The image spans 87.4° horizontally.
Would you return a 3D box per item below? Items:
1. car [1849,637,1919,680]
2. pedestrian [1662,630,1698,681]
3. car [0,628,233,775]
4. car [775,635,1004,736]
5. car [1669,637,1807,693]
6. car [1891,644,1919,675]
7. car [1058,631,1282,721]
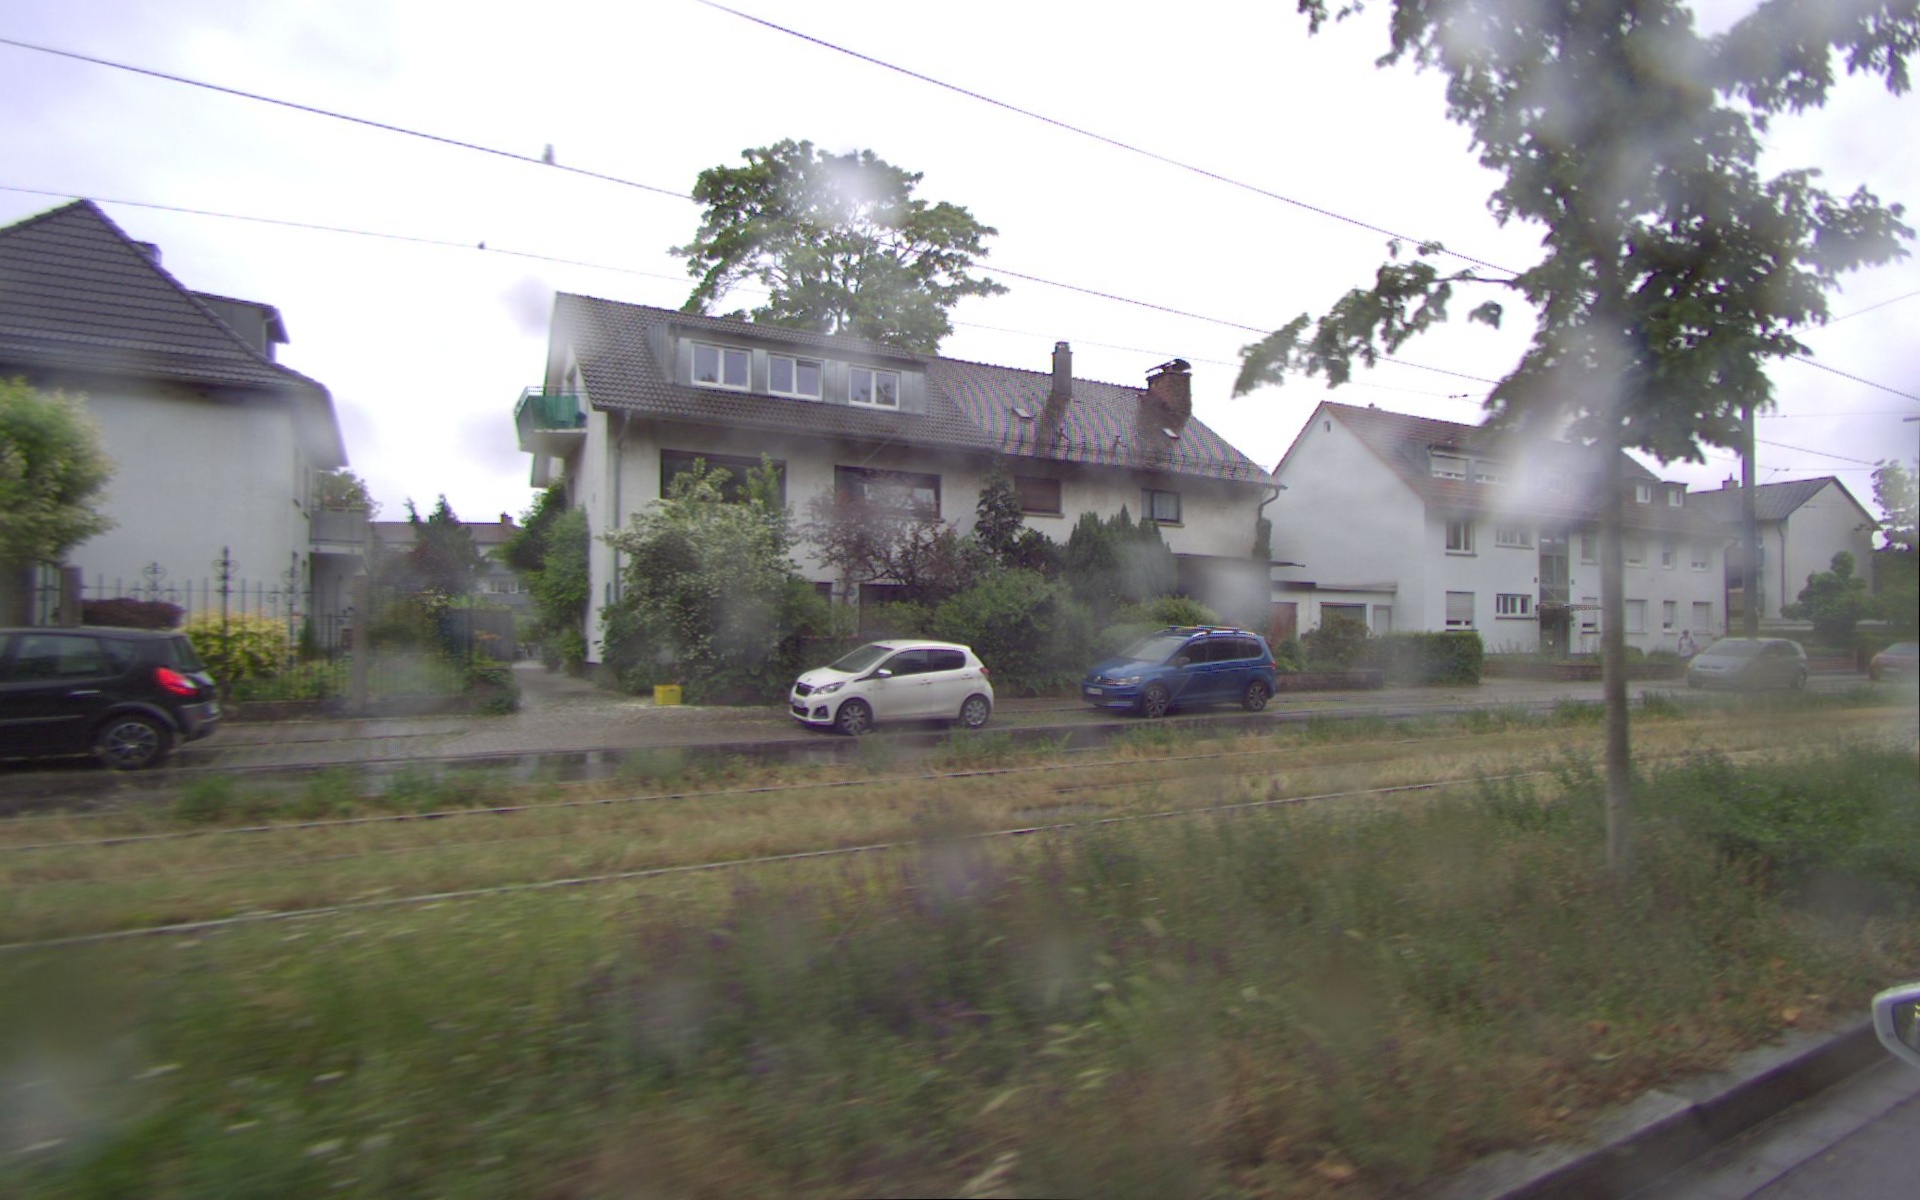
[{"bbox_3d":[36.740,2.231,39.107,4.155,1.508,1.984,1,0,-30],"label":"car"},{"bbox_3d":[25.667,1.967,35.811,0.844,1.778,0.699,1,-3,-29],"label":"pedestrian"},{"bbox_3d":[-11.102,1.115,11.587,4.155,1.536,1.984,1,0,-30],"label":"car"},{"bbox_3d":[-1.215,1.399,17.424,3.554,1.508,1.788,1,0,-30],"label":"car"},{"bbox_3d":[24.950,2.016,32.189,4.463,1.602,1.984,1,0,-30],"label":"car"},{"bbox_3d":[50.884,3.071,51.705,1.977,1.638,3.967,1,-3,-31],"label":"car"},{"bbox_3d":[4.406,1.496,20.925,4.360,1.635,1.984,1,0,-30],"label":"car"}]
